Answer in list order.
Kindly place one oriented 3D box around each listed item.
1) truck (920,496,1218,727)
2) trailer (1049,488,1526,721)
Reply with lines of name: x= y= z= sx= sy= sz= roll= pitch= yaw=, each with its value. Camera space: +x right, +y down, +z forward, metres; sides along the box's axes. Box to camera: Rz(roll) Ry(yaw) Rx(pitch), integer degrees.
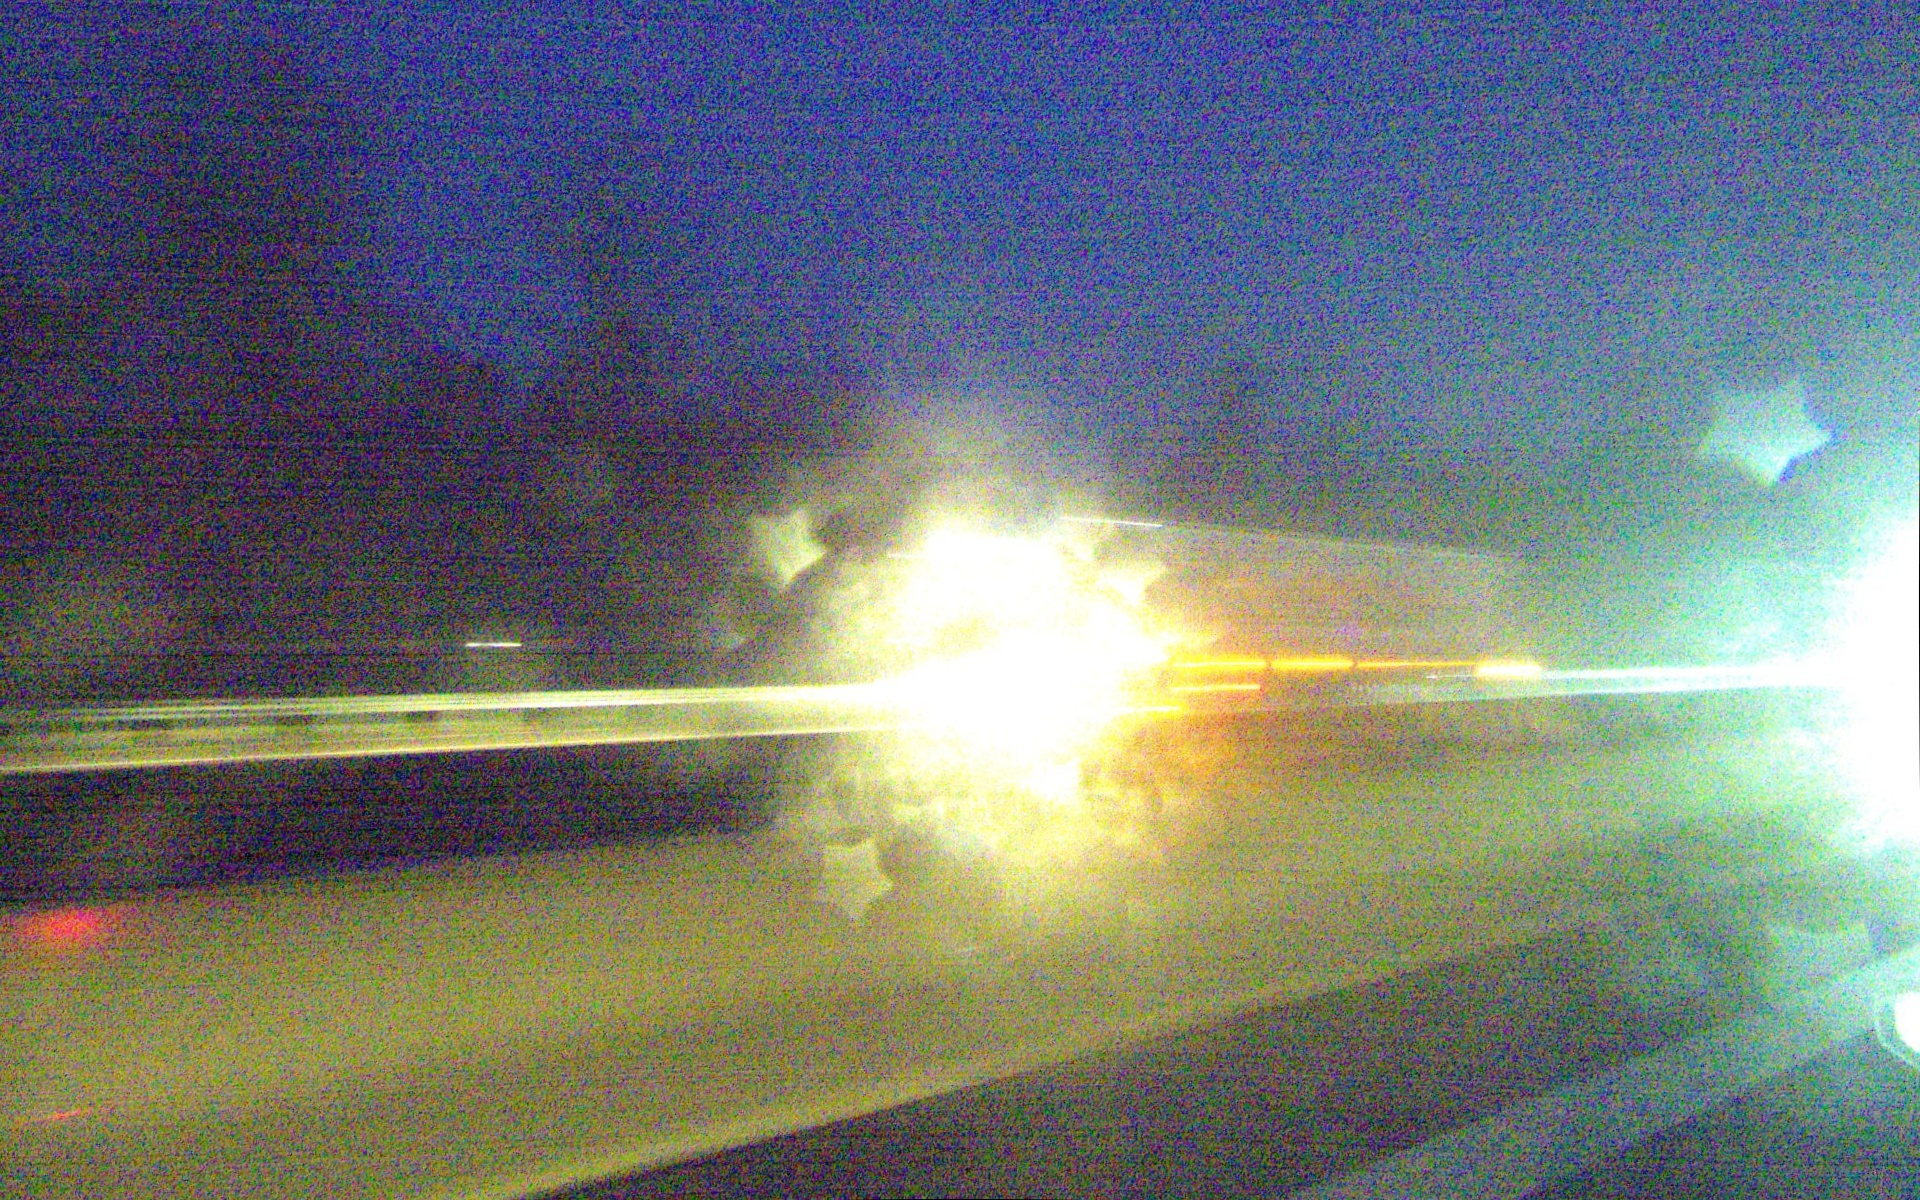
truck: x=2.292 y=0.274 z=20.697 sx=5.612 sy=4.167 sz=2.592 roll=2 pitch=0 yaw=-30
trailer: x=8.491 y=0.268 z=24.362 sx=13.562 sy=4.605 sz=2.609 roll=2 pitch=0 yaw=-31
